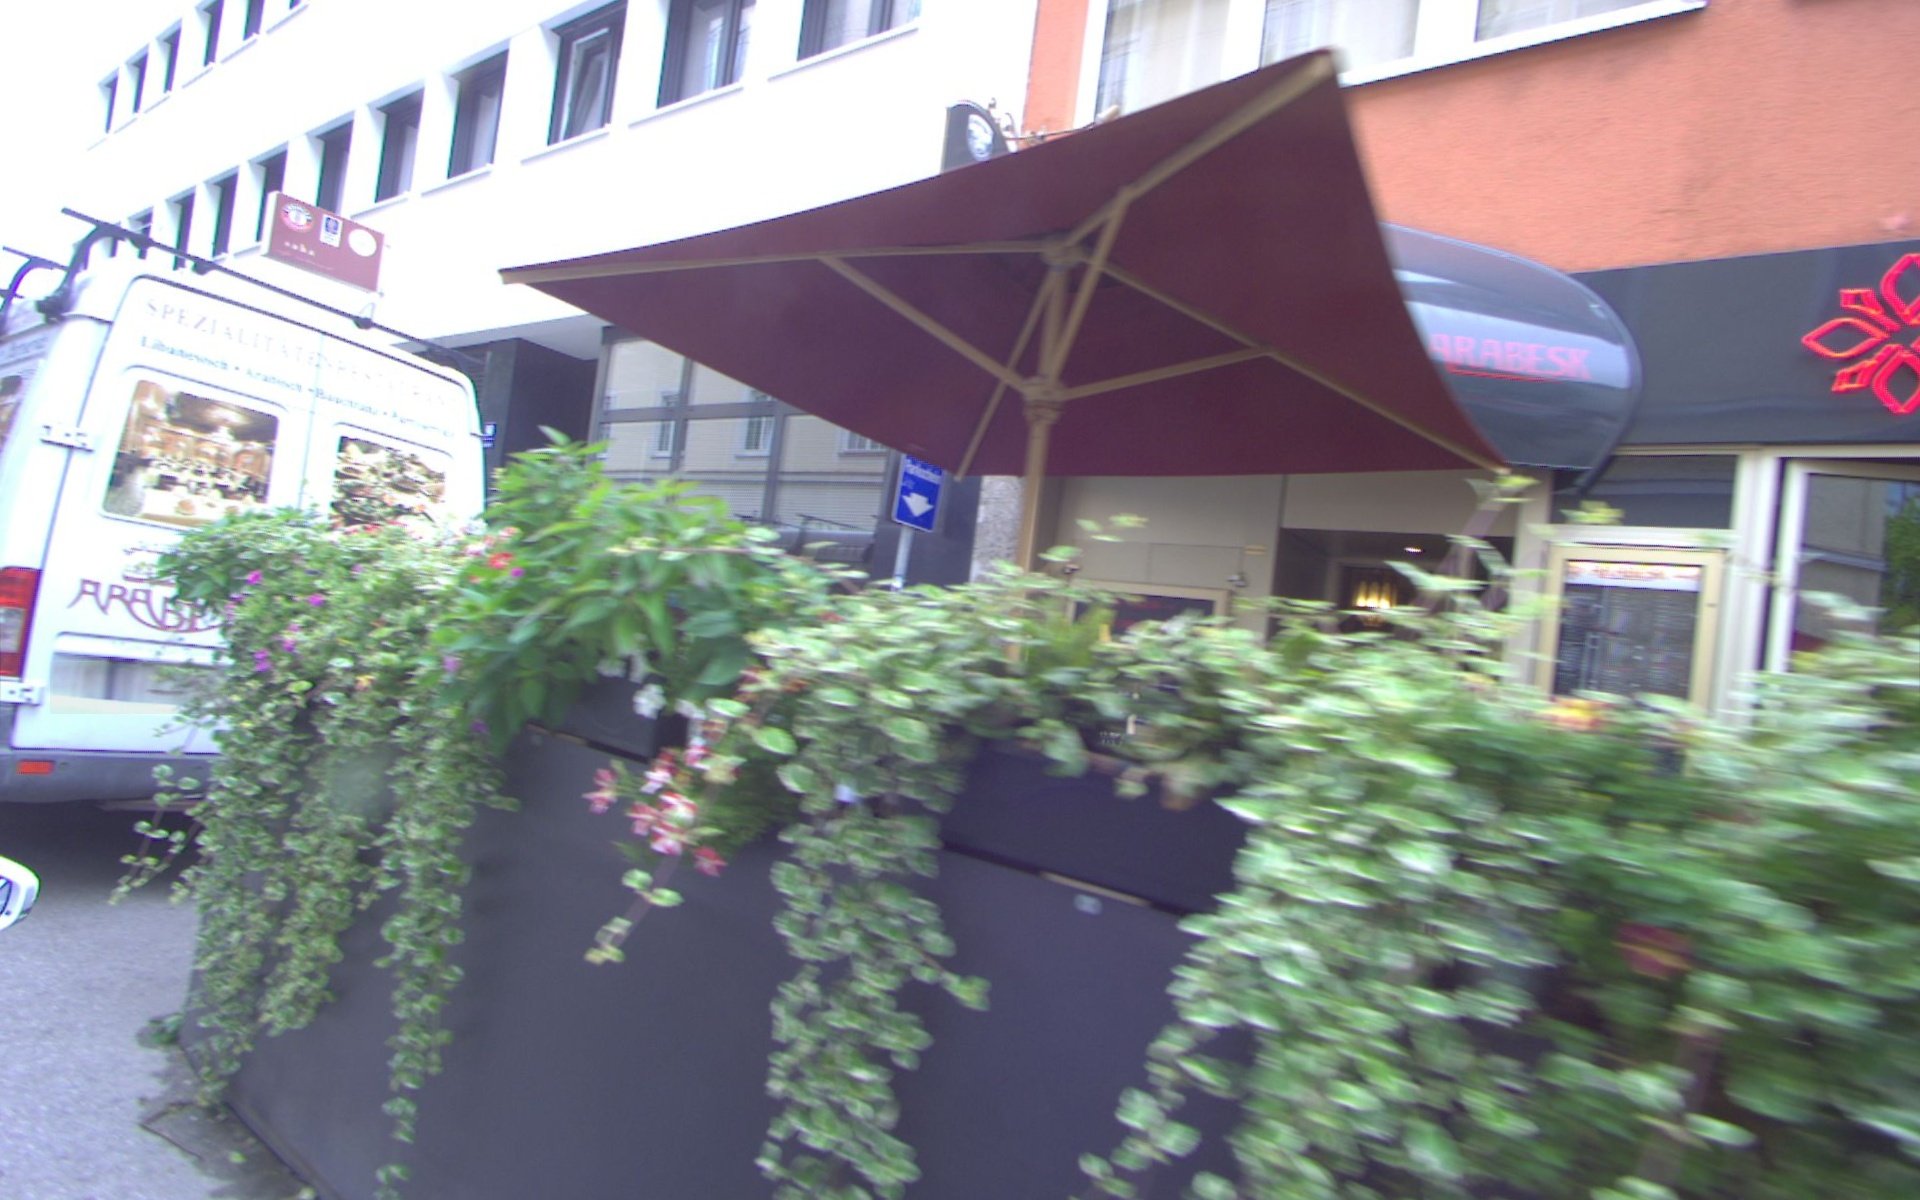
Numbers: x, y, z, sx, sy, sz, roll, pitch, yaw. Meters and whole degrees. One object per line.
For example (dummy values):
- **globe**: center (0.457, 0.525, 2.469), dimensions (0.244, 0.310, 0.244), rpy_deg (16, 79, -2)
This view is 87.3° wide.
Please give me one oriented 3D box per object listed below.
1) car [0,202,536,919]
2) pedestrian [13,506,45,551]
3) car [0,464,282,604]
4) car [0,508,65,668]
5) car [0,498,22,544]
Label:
- **car**: center (-5.237, -0.265, 5.992), dimensions (5.904, 2.533, 1.923), rpy_deg (6, -3, 36)
- **pedestrian**: center (-41.560, -3.182, 44.927), dimensions (0.775, 1.872, 1.012), rpy_deg (9, -2, -39)
- **car**: center (-21.827, -1.659, 26.636), dimensions (2.031, 2.620, 5.891), rpy_deg (8, -2, 41)
- **car**: center (-10.662, -0.311, 10.226), dimensions (3.498, 1.480, 1.581), rpy_deg (6, -3, 37)
- **car**: center (-42.219, -3.559, 43.560), dimensions (1.815, 1.890, 4.243), rpy_deg (12, -5, -39)
